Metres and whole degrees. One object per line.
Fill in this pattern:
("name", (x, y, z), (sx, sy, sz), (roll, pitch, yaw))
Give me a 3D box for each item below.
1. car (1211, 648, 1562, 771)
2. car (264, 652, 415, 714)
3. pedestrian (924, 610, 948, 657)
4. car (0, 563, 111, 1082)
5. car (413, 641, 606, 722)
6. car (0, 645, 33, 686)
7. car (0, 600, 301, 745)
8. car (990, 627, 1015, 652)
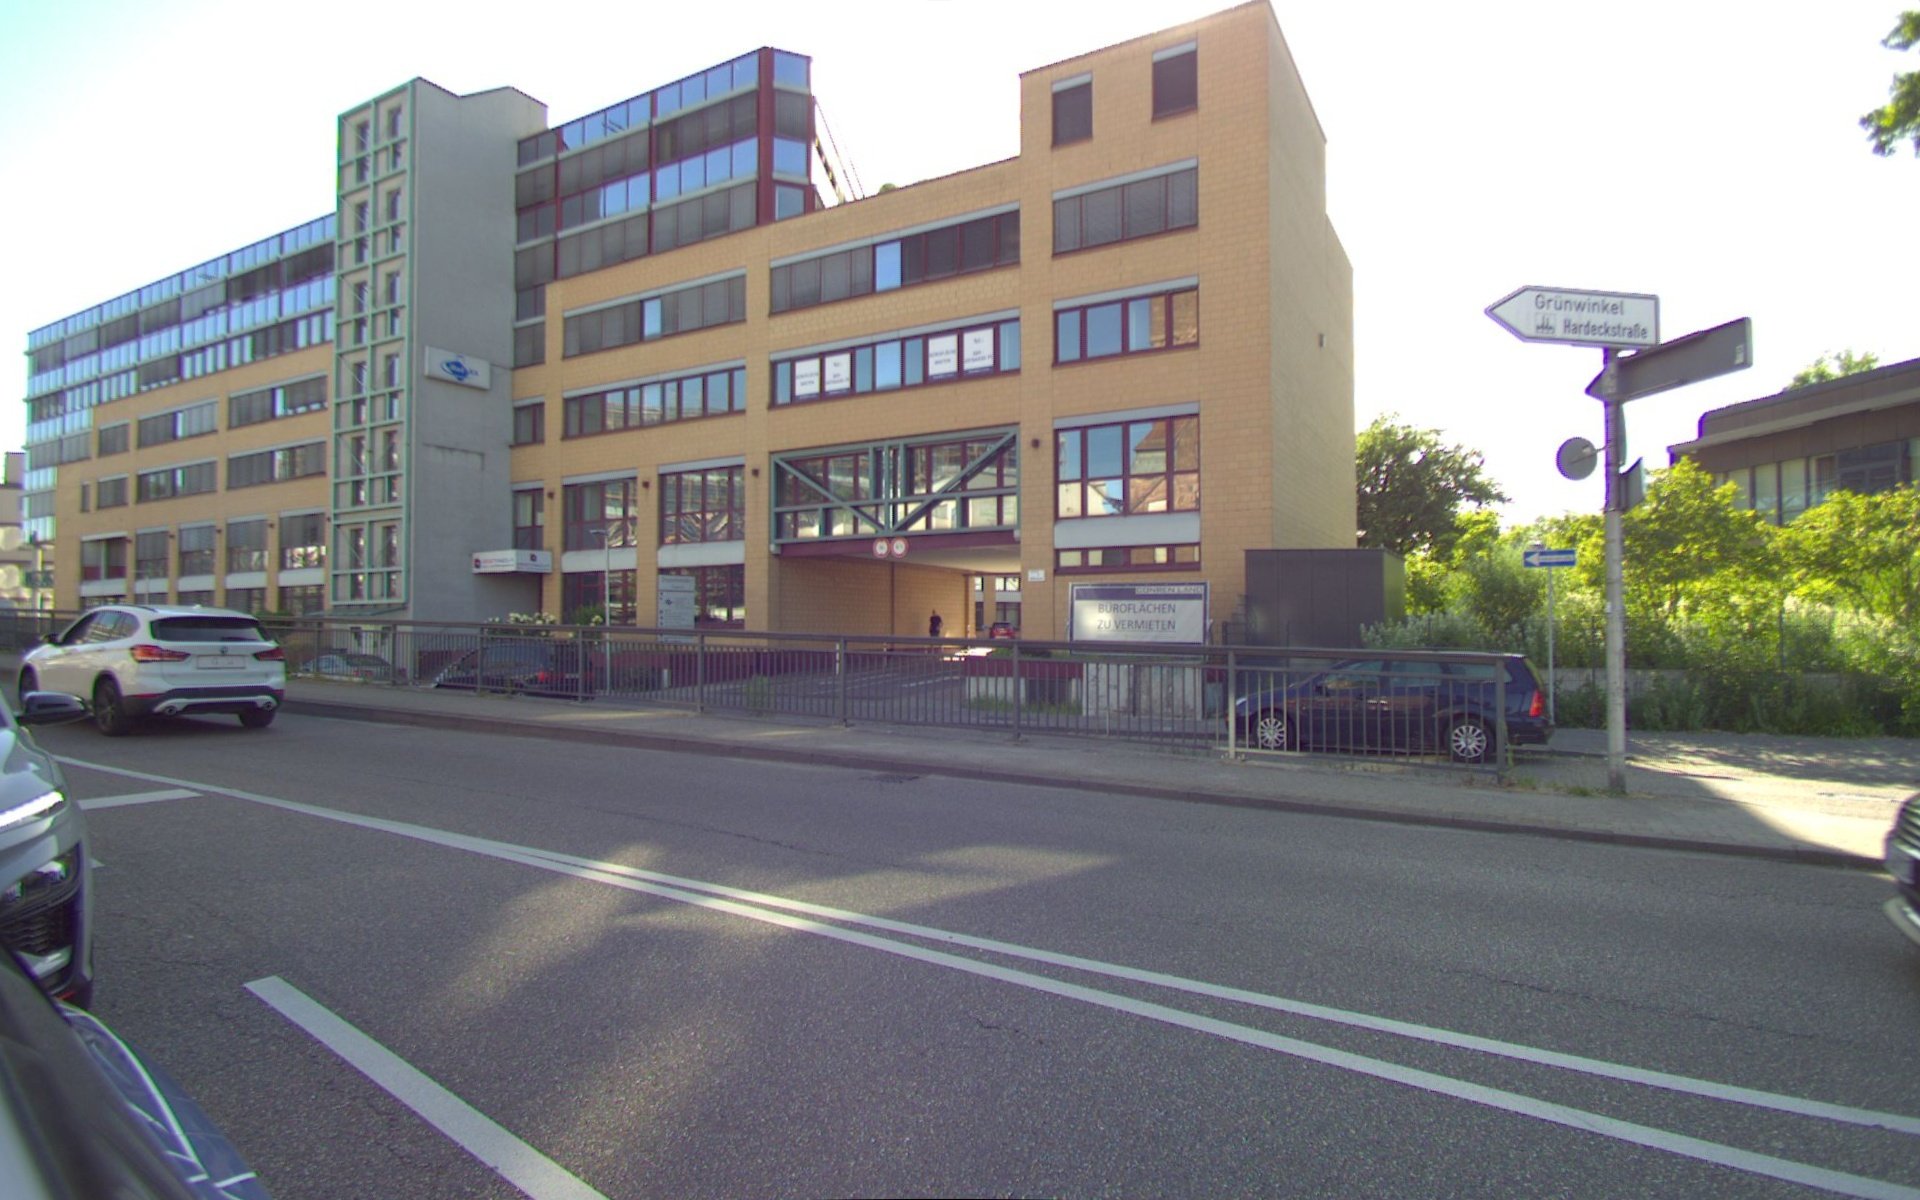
("car", (6.092, 1.463, 14.667), (4.438, 1.515, 1.805), (-2, -3, 33))
("car", (-17.704, 2.308, 28.840), (4.340, 1.616, 1.807), (-1, -3, 30))
("pedestrian", (-0.967, 1.362, 40.669), (0.676, 1.858, 0.779), (-2, -3, 28))
("car", (-4.939, 0.688, 3.992), (4.219, 1.582, 1.825), (-1, -1, 42))
("car", (-11.117, 1.926, 24.918), (4.667, 1.771, 1.938), (-1, -1, 29))
("car", (-41.447, 2.784, 43.081), (3.988, 1.674, 1.977), (-1, -3, 33))
("car", (-11.062, 0.889, 13.615), (4.611, 1.666, 1.820), (-1, -3, 31))
("car", (2.792, 2.597, 66.705), (1.621, 1.586, 3.150), (-1, -2, 2))
